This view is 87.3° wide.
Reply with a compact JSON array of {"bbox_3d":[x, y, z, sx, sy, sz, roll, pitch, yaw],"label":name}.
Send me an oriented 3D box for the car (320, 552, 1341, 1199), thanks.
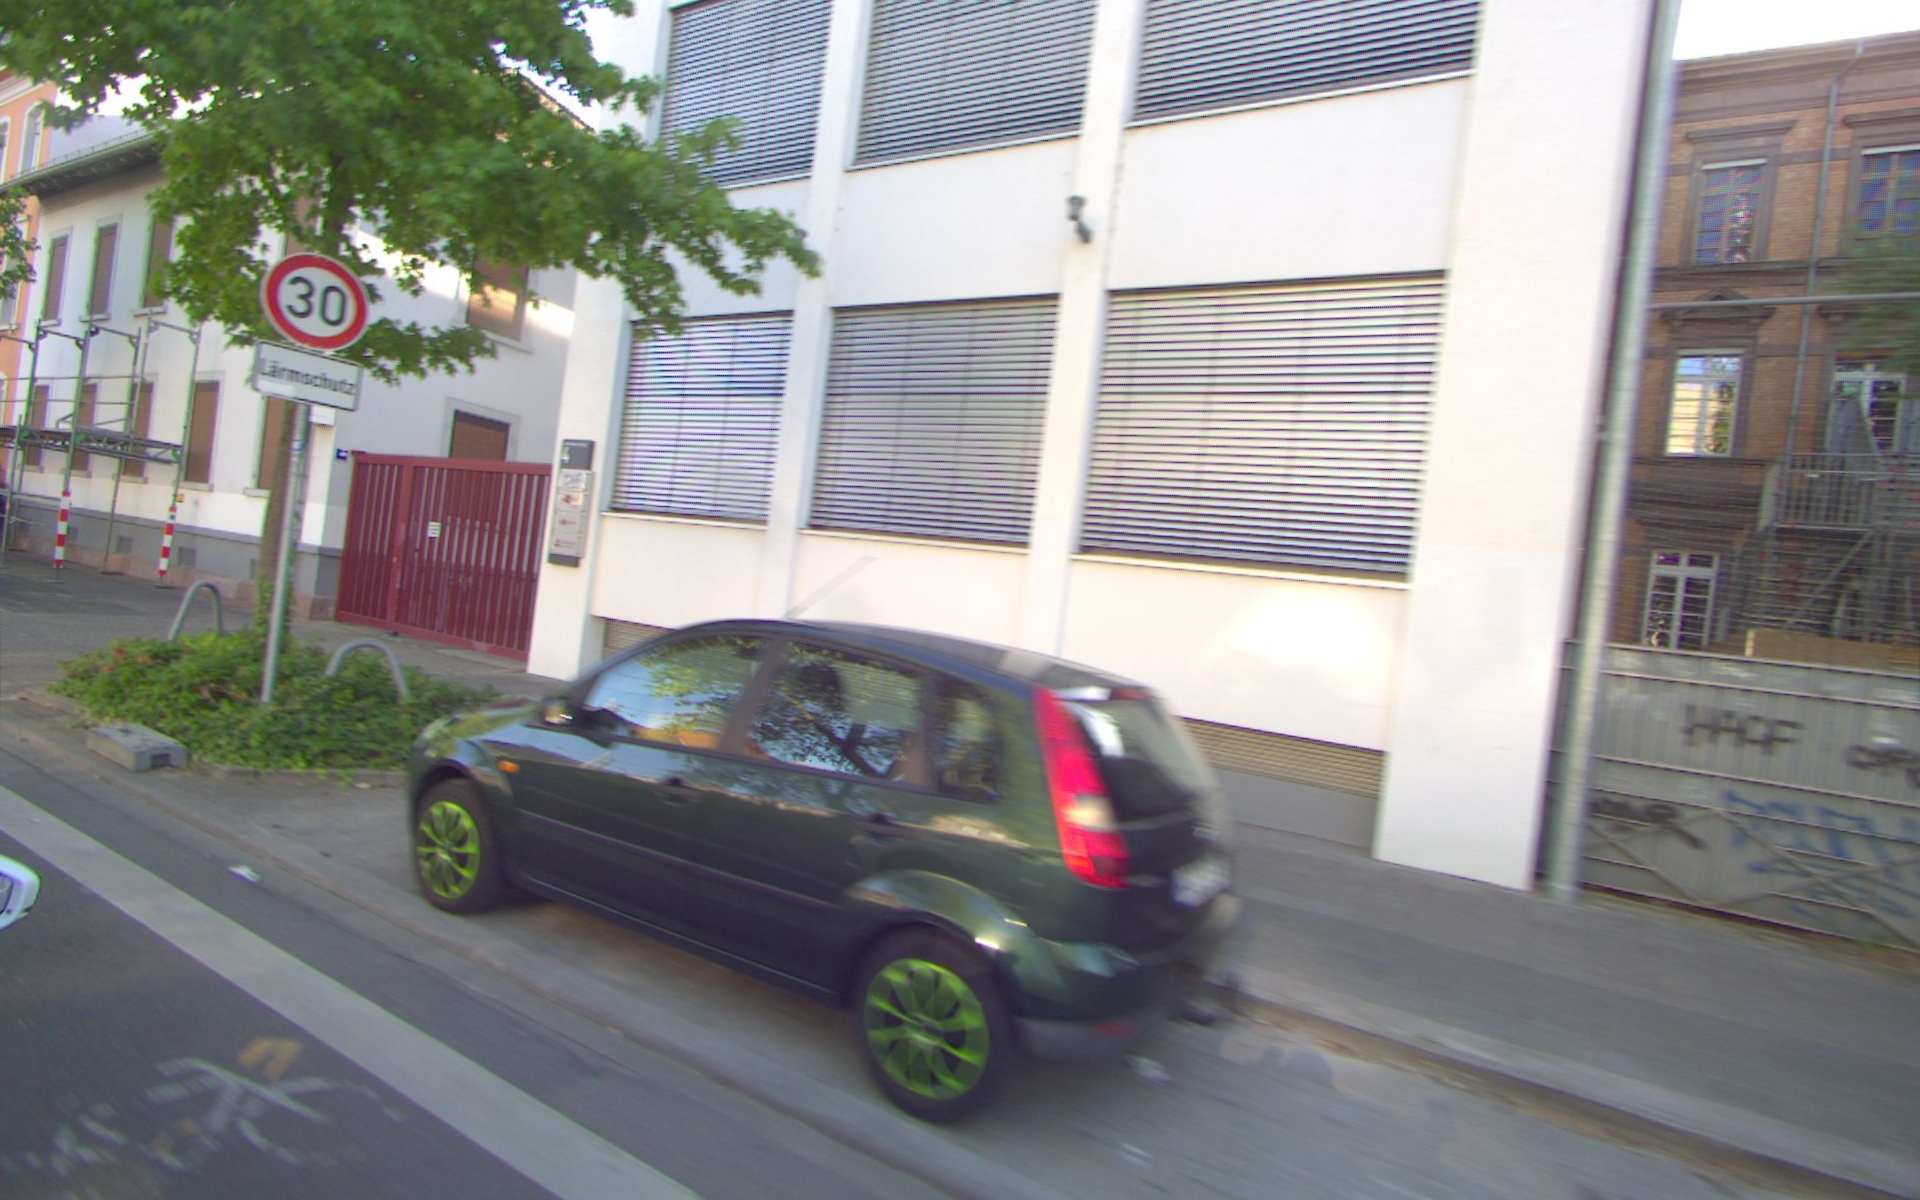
[{"bbox_3d":[-0.692,0.776,4.274,3.980,1.438,1.688,7,0,30],"label":"car"}]
